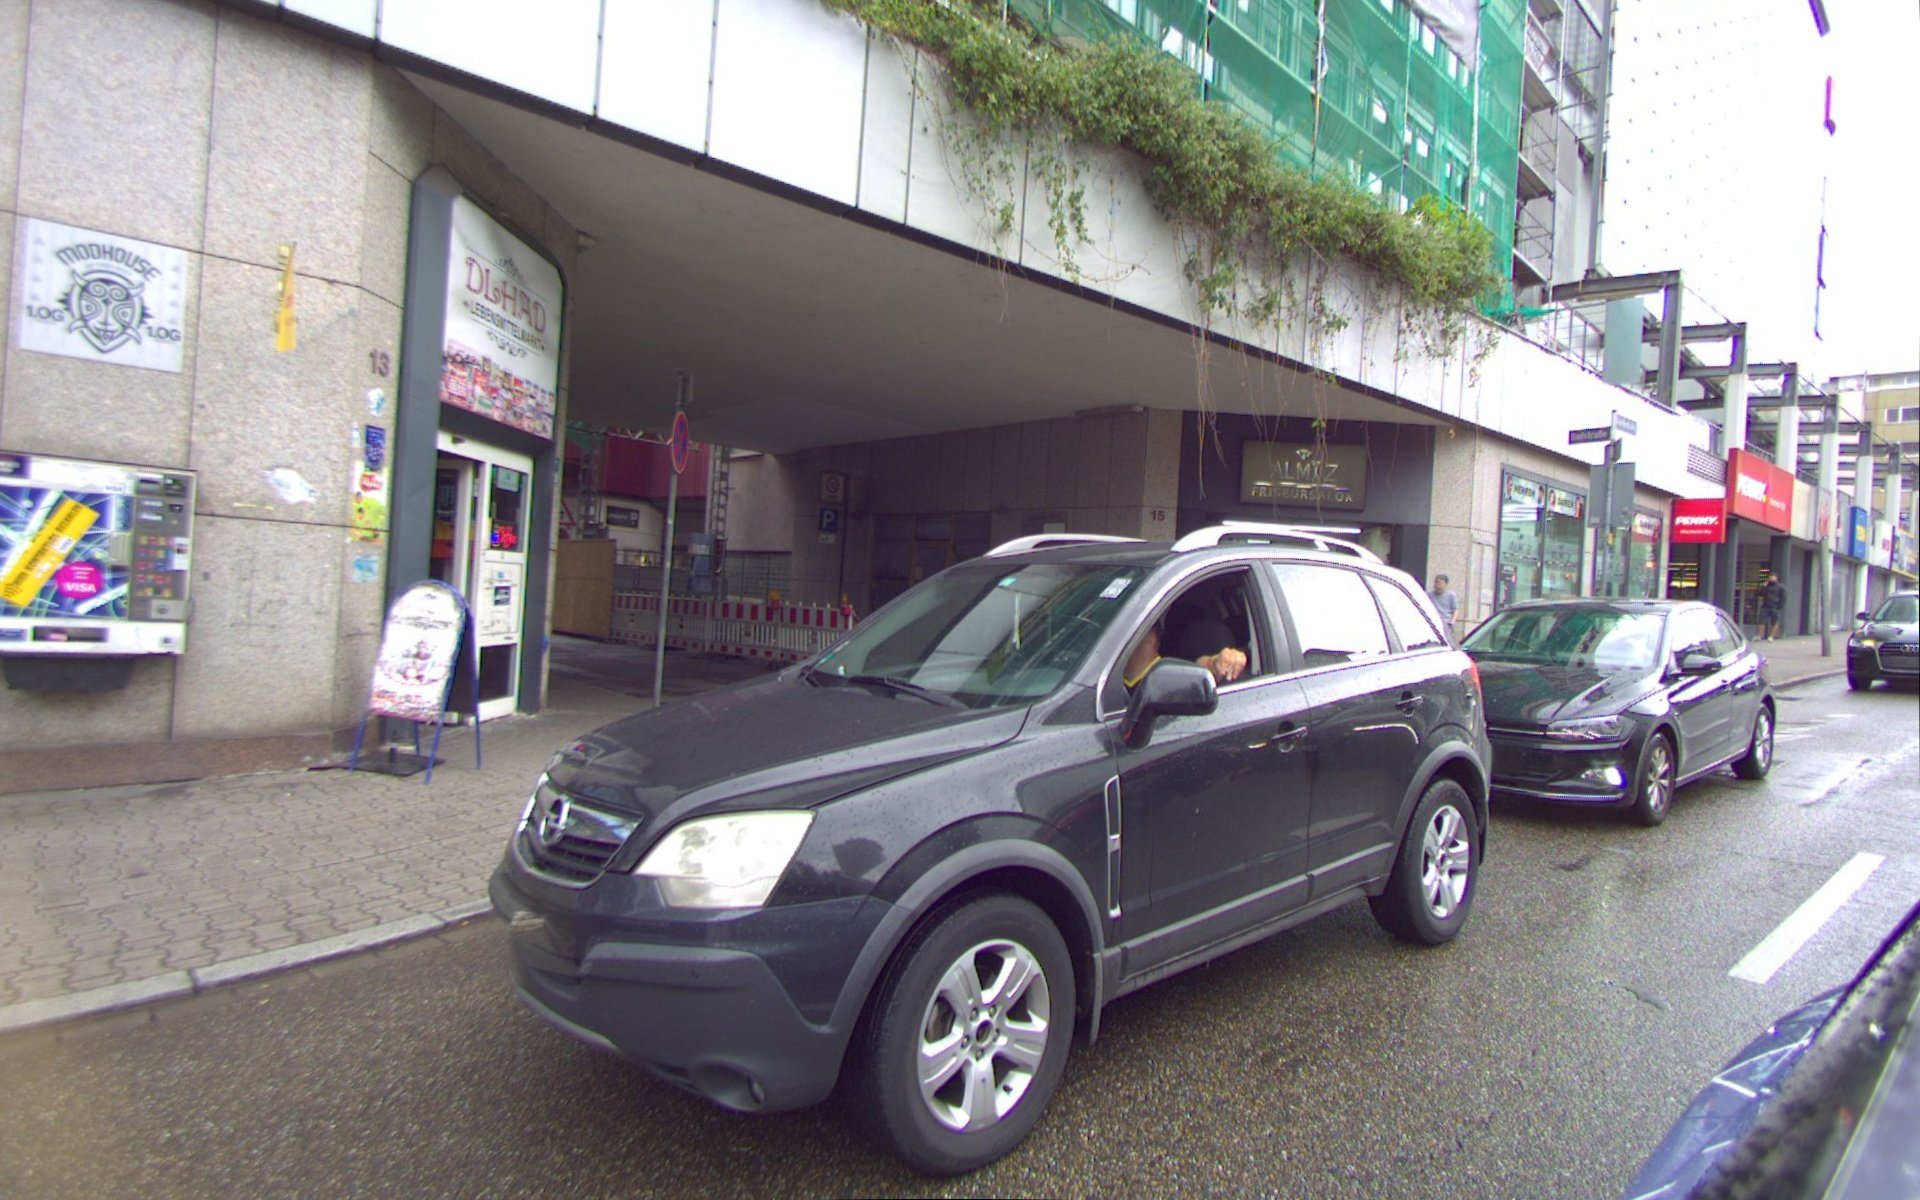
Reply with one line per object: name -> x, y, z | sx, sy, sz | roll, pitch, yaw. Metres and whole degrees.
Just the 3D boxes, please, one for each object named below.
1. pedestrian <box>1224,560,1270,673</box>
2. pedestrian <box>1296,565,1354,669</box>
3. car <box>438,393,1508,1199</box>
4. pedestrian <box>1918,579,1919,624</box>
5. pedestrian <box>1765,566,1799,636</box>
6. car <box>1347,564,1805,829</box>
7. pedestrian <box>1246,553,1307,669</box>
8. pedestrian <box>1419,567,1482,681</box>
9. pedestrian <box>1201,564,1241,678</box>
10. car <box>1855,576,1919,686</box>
pedestrian -> 4.193, 0.235, 14.794 | 0.630, 1.615, 0.574 | 0, 1, 17
pedestrian -> 5.935, 0.268, 16.476 | 0.664, 1.647, 0.580 | 1, 2, -2
car -> 0.413, 0.503, 3.997 | 4.090, 1.788, 1.763 | 1, 0, -41
pedestrian -> 33.170, 0.062, 34.612 | 0.570, 1.519, 0.509 | -1, 3, -42
pedestrian -> 20.398, 0.023, 25.103 | 0.578, 1.699, 0.502 | 3, 3, 43
car -> 4.888, 0.570, 7.800 | 4.088, 1.523, 1.759 | 1, 0, -39
pedestrian -> 5.168, 0.166, 16.575 | 0.730, 1.838, 0.773 | 2, 2, 3
pedestrian -> 7.391, 0.340, 15.255 | 0.721, 1.663, 0.637 | -1, 1, -44
pedestrian -> 4.019, 0.316, 15.596 | 0.474, 1.729, 0.467 | 0, 0, 1
car -> 15.917, 0.447, 16.136 | 4.089, 1.628, 1.841 | -1, 1, -39
